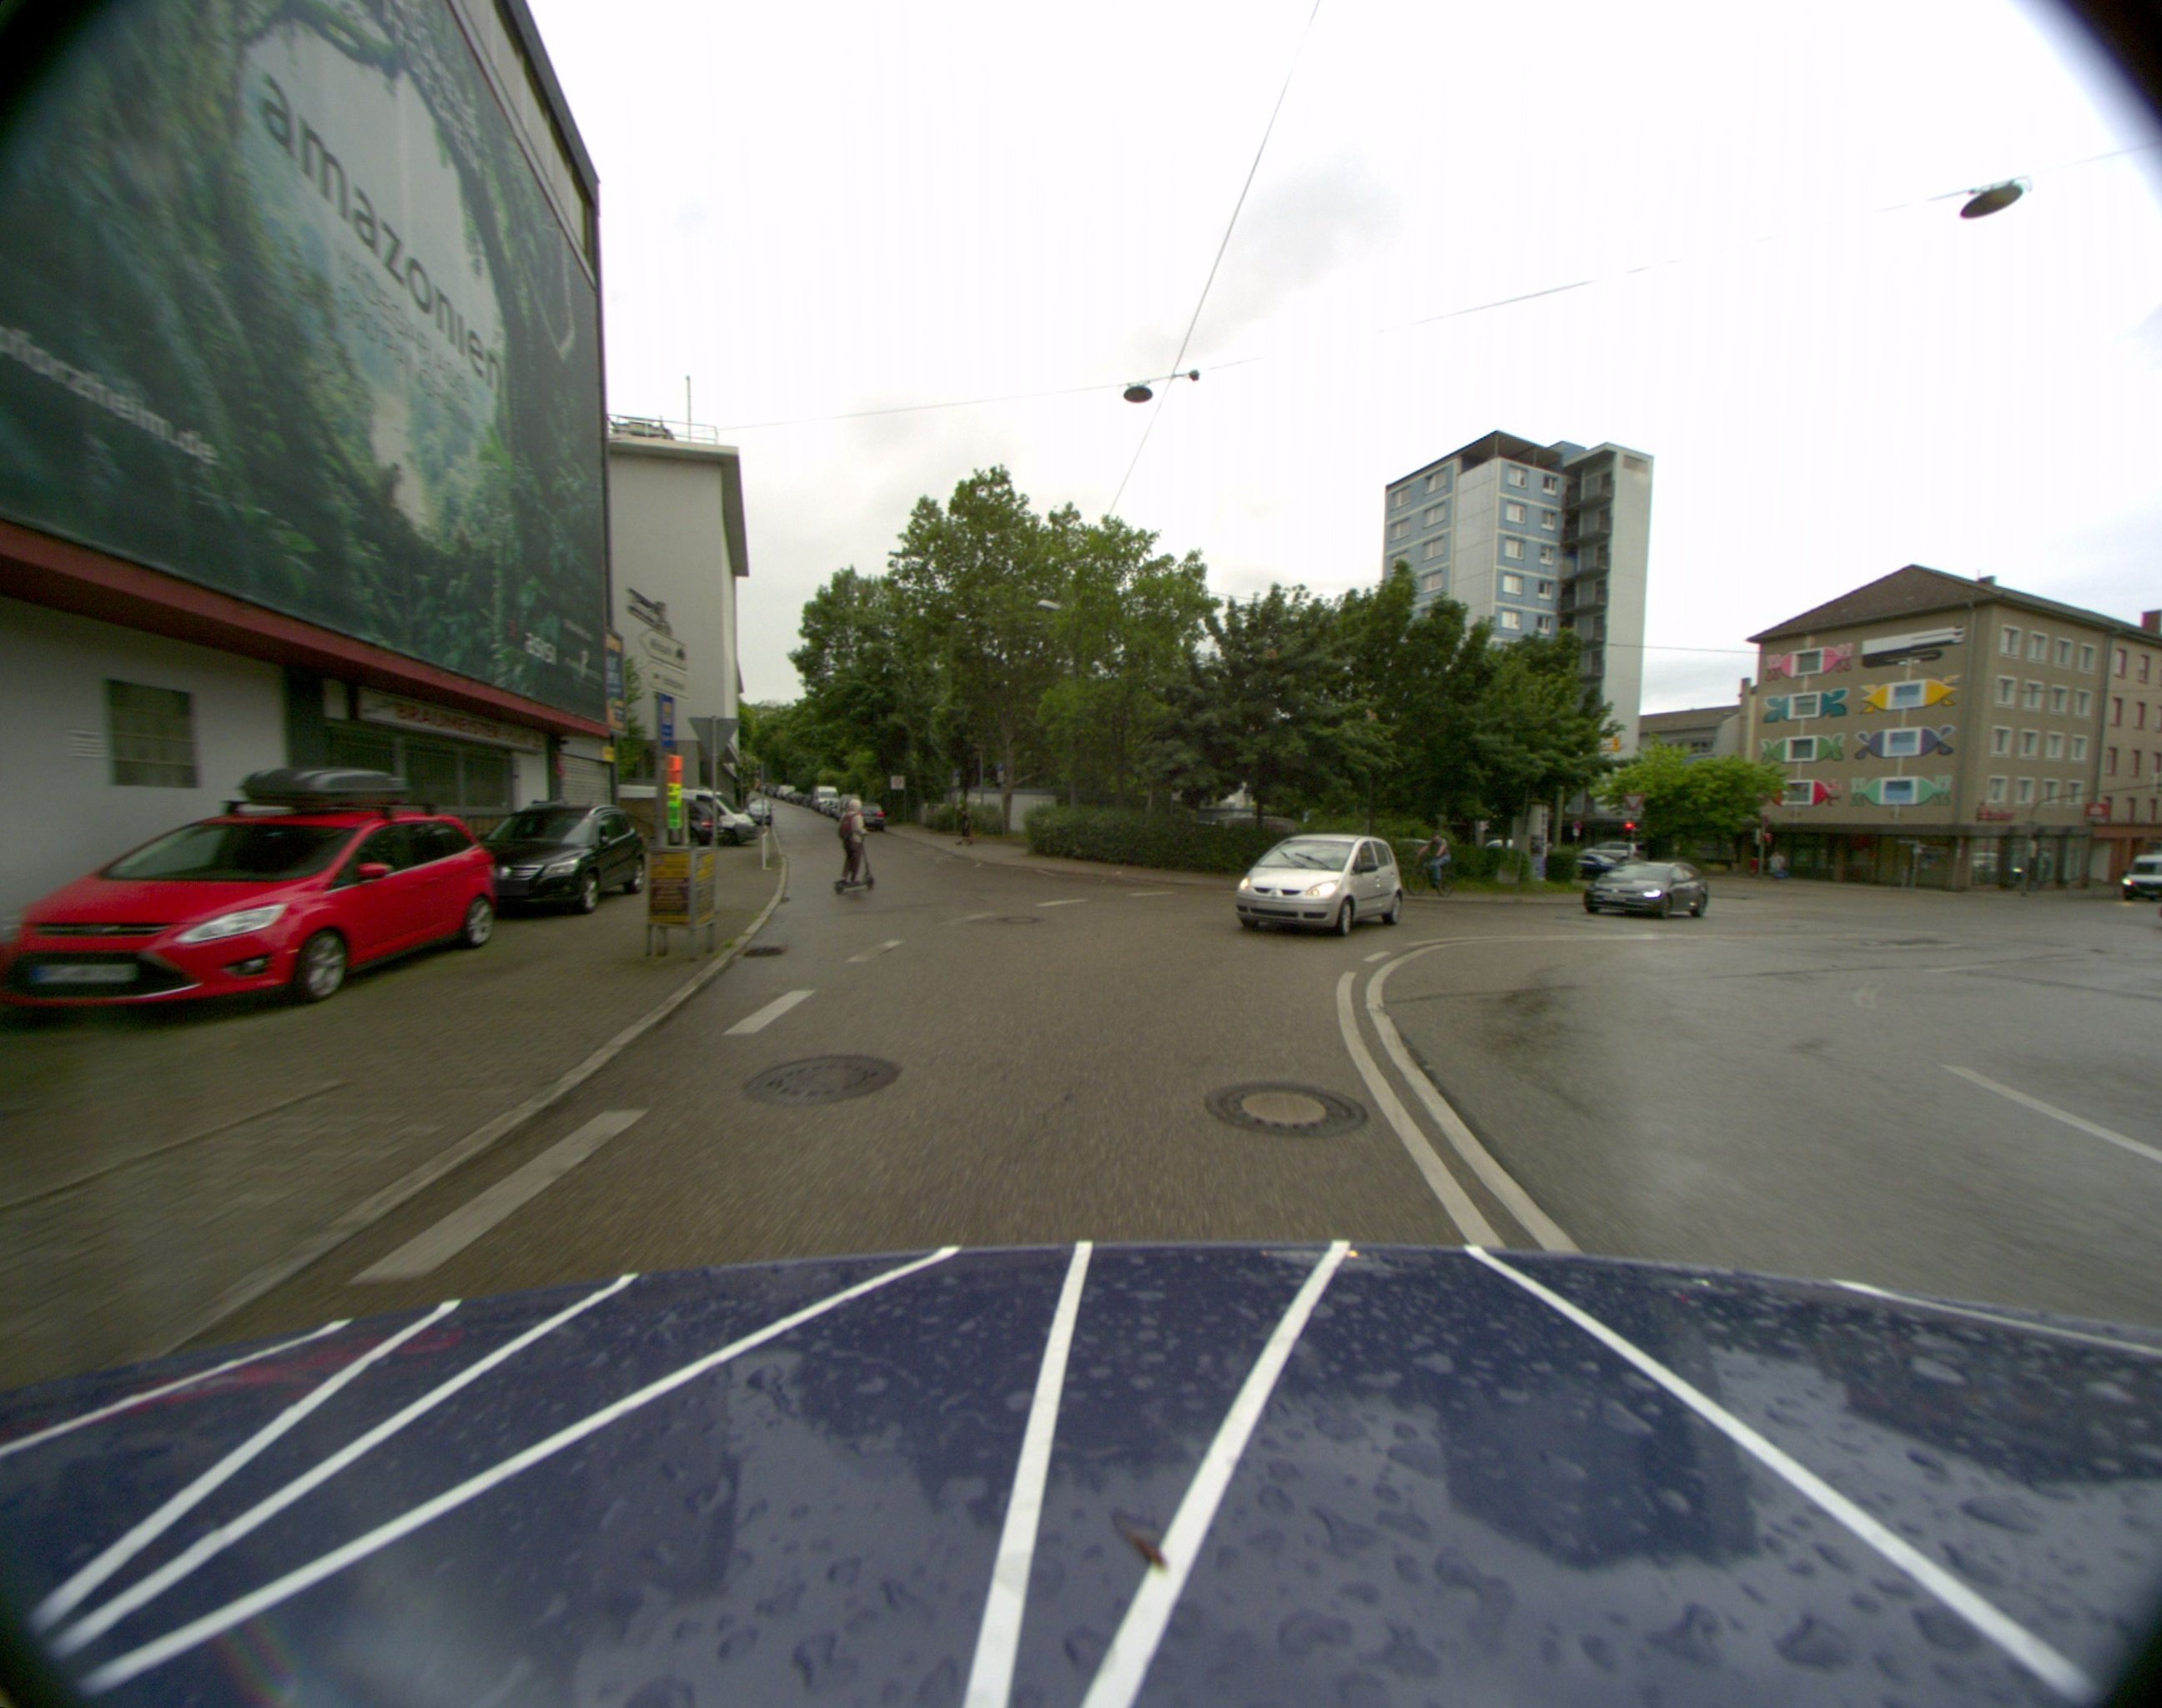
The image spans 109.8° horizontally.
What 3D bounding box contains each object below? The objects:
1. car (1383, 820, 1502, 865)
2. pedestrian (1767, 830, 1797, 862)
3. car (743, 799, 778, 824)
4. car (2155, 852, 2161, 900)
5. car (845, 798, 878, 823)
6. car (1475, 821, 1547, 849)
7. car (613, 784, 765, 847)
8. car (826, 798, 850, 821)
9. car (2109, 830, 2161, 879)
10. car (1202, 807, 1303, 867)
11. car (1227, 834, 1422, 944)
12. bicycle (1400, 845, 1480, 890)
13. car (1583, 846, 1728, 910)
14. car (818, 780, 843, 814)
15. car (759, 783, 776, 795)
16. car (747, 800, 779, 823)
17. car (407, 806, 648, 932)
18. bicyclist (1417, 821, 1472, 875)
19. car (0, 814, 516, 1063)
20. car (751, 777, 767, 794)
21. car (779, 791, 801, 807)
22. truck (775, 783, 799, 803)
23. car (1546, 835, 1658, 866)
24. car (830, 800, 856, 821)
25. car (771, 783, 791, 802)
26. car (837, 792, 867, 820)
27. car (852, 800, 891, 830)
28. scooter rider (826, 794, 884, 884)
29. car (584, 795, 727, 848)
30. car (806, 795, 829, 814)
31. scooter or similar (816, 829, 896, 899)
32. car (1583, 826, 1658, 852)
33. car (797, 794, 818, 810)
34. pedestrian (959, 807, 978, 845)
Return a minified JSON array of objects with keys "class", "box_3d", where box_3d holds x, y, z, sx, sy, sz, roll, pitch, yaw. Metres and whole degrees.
[{"class":"car","box_3d":[14.914,-0.516,31.577,1.640,1.612,4.200,2,2,-28]},{"class":"pedestrian","box_3d":[40.090,-0.467,43.471,0.819,1.764,0.901,0,5,-24]},{"class":"car","box_3d":[-20.749,-2.776,49.349,1.911,1.494,3.990,0,4,-20]},{"class":"car","box_3d":[36.418,0.860,22.729,1.994,1.571,4.568,0,4,-26]},{"class":"car","box_3d":[-15.239,-3.022,52.538,1.911,1.642,3.990,0,4,-20]},{"class":"car","box_3d":[31.668,-1.460,56.113,1.993,1.845,4.220,1,4,-21]},{"class":"car","box_3d":[-15.032,-1.509,29.413,4.894,2.200,1.880,1,5,-12]},{"class":"car","box_3d":[-22.382,-4.158,69.923,1.911,2.024,3.990,0,4,-20]},{"class":"car","box_3d":[57.655,0.043,40.407,5.477,2.510,2.228,1,2,-23]},{"class":"car","box_3d":[6.204,-0.666,27.992,1.639,1.949,4.203,3,2,-18]},{"class":"car","box_3d":[4.124,0.448,12.530,1.682,1.496,3.846,3,3,40]},{"class":"bicycle","box_3d":[10.624,0.406,22.456,2.137,1.181,0.886,2,6,-27]},{"class":"car","box_3d":[15.459,0.591,20.375,4.510,1.496,1.683,1,2,-35]},{"class":"car","box_3d":[-25.459,-5.798,77.180,2.225,3.266,5.067,-1,5,-20]},{"class":"car","box_3d":[-49.031,-10.150,118.770,1.912,1.931,3.988,-1,5,-29]},{"class":"car","box_3d":[-22.458,-3.010,53.786,1.911,1.494,3.990,0,4,-20]},{"class":"car","box_3d":[-8.897,0.111,12.699,1.934,1.702,3.991,1,4,-16]},{"class":"bicyclist","box_3d":[10.722,-0.170,22.427,0.970,1.482,0.886,2,6,-26]},{"class":"car","box_3d":[-7.696,0.480,7.453,1.934,1.702,4.483,0,3,-15]},{"class":"car","box_3d":[-53.357,-11.293,125.970,1.912,2.775,3.988,-1,5,-29]},{"class":"car","box_3d":[-37.531,-7.140,98.052,1.912,1.931,3.987,-2,5,-32]},{"class":"truck","box_3d":[-40.603,-8.385,104.804,2.055,2.615,3.987,-2,5,-36]},{"class":"car","box_3d":[28.123,-0.219,41.188,1.823,1.388,4.646,-2,4,-28]},{"class":"car","box_3d":[-20.117,-3.672,64.065,1.911,1.642,3.990,0,4,-20]},{"class":"car","box_3d":[-43.288,-8.835,109.659,1.795,2.615,3.987,-2,5,-35]},{"class":"car","box_3d":[-17.489,-3.682,57.937,1.911,2.065,3.990,0,4,-20]},{"class":"car","box_3d":[-12.493,-2.350,45.174,1.911,1.642,3.990,0,4,-20]},{"class":"scooter rider","box_3d":[-4.756,-0.344,15.993,0.802,1.812,0.783,4,7,32]},{"class":"car","box_3d":[-14.876,-1.150,26.781,4.001,1.684,1.880,1,5,-12]},{"class":"car","box_3d":[-29.661,-5.570,85.518,1.912,2.024,3.988,-1,5,-27]},{"class":"scooter or similar","box_3d":[-4.740,0.179,16.075,0.802,1.316,1.410,4,7,32]},{"class":"car","box_3d":[40.000,-1.153,56.463,1.652,1.657,4.174,-2,6,-24]},{"class":"car","box_3d":[-33.657,-6.403,93.362,1.912,1.931,3.988,-1,5,-27]},{"class":"pedestrian","box_3d":[-4.806,-1.200,32.475,0.704,1.559,0.620,-1,6,-18]}]
